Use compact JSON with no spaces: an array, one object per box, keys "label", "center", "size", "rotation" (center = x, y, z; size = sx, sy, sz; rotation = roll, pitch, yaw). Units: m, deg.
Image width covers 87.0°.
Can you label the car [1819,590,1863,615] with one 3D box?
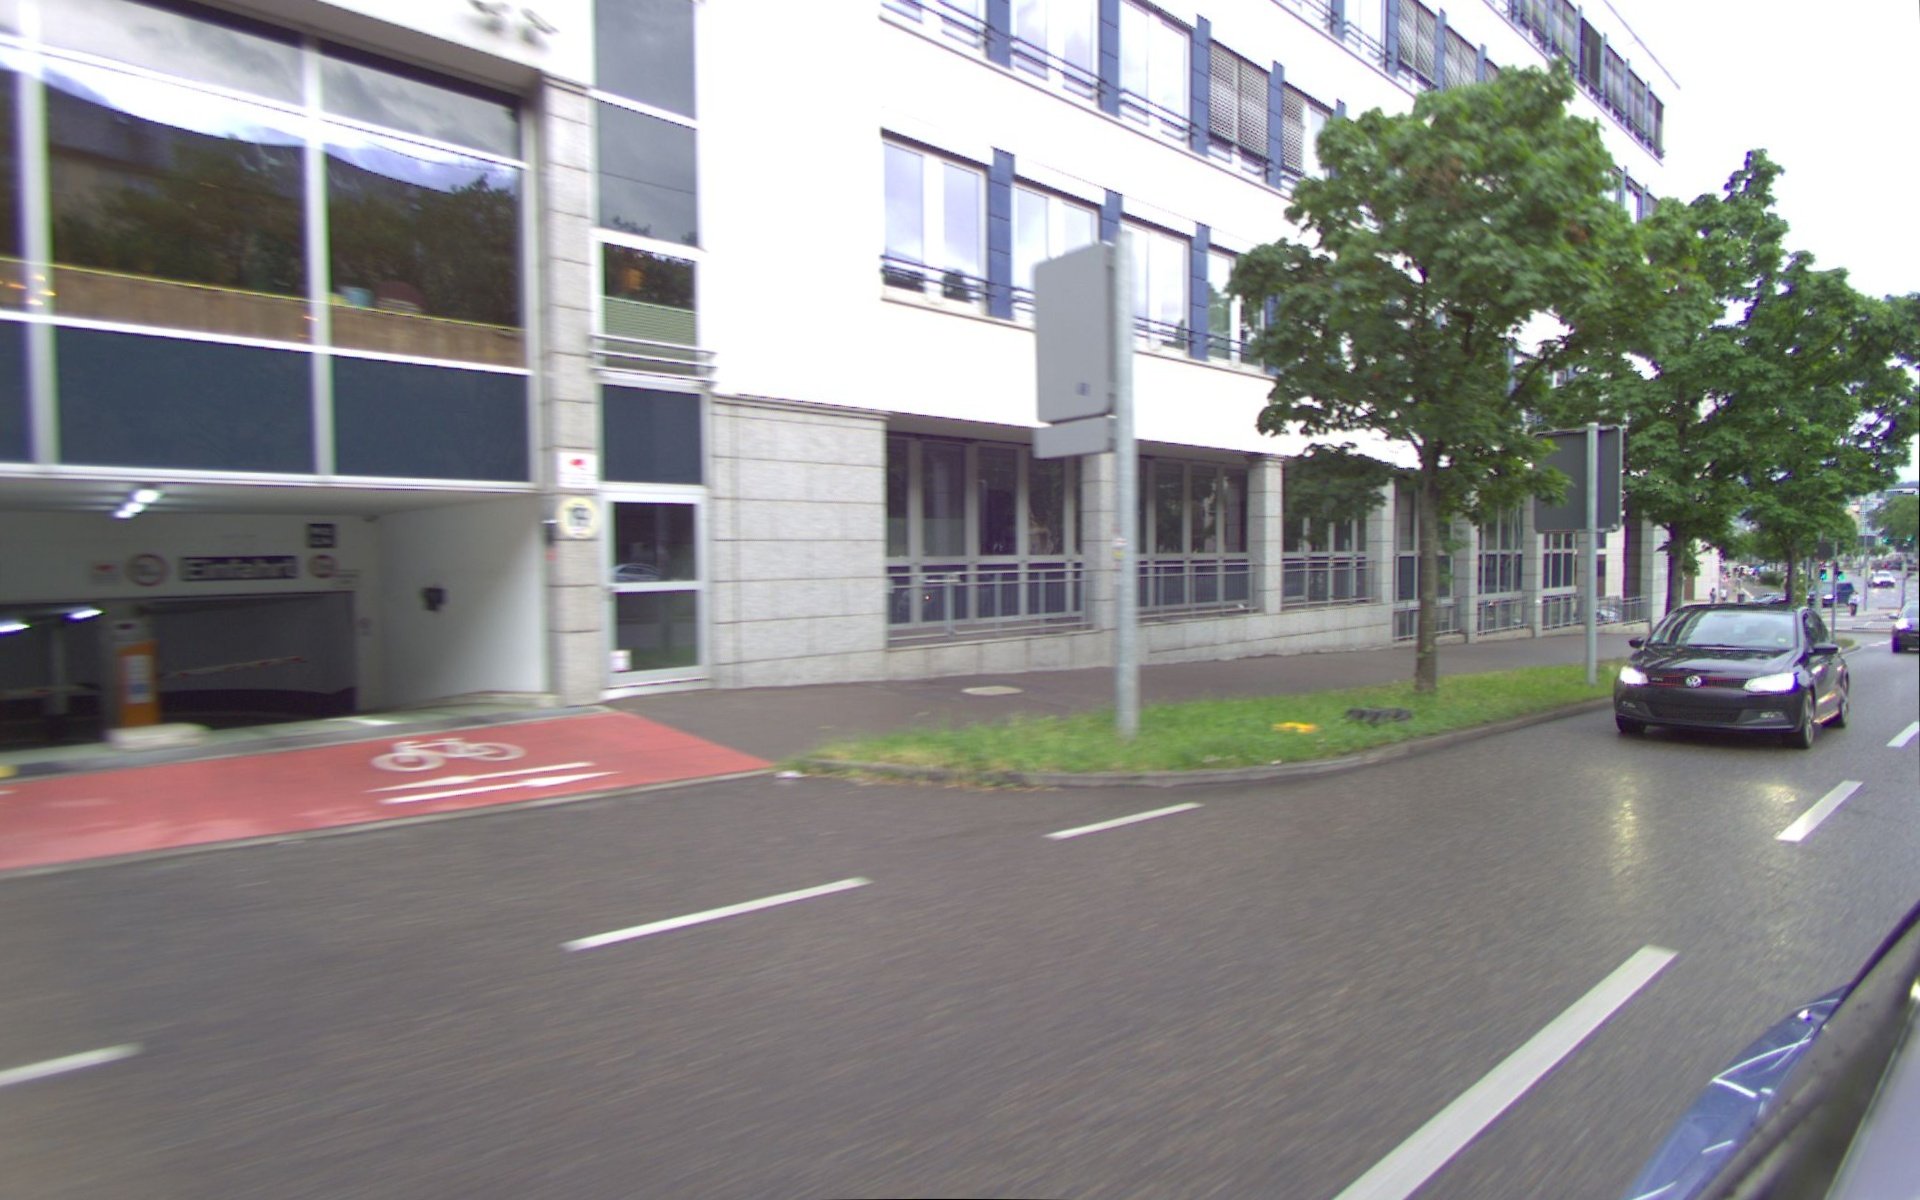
[{"label":"car","center":[70.501,0.175,80.988],"size":[4.212,1.885,1.799],"rotation":[-1,0,-36]}]

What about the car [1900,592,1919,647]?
[{"label":"car","center":[28.070,0.522,28.613],"size":[3.641,1.459,1.750],"rotation":[-1,0,-40]}]

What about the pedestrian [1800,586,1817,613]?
[{"label":"pedestrian","center":[52.604,-0.043,62.758],"size":[0.633,1.645,0.707],"rotation":[-1,0,-40]}]

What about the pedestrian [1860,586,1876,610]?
[{"label":"pedestrian","center":[57.718,-0.131,64.340],"size":[0.582,1.496,0.599],"rotation":[-1,0,27]}]

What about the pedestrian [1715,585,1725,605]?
[{"label":"pedestrian","center":[63.374,-0.431,84.416],"size":[0.584,1.630,0.597],"rotation":[-1,0,35]}]

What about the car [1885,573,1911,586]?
[{"label":"car","center":[111.707,-2.401,120.570],"size":[1.789,1.529,3.949],"rotation":[-1,0,36]}]

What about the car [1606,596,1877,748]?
[{"label":"car","center":[8.839,0.664,11.342],"size":[3.781,1.417,1.677],"rotation":[0,0,-40]}]

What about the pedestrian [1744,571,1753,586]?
[{"label":"pedestrian","center":[77.392,-2.118,99.293],"size":[0.582,1.496,0.599],"rotation":[-1,0,27]}]

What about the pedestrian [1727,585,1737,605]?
[{"label":"pedestrian","center":[64.014,-0.448,83.892],"size":[0.584,1.630,0.597],"rotation":[-1,0,35]}]
